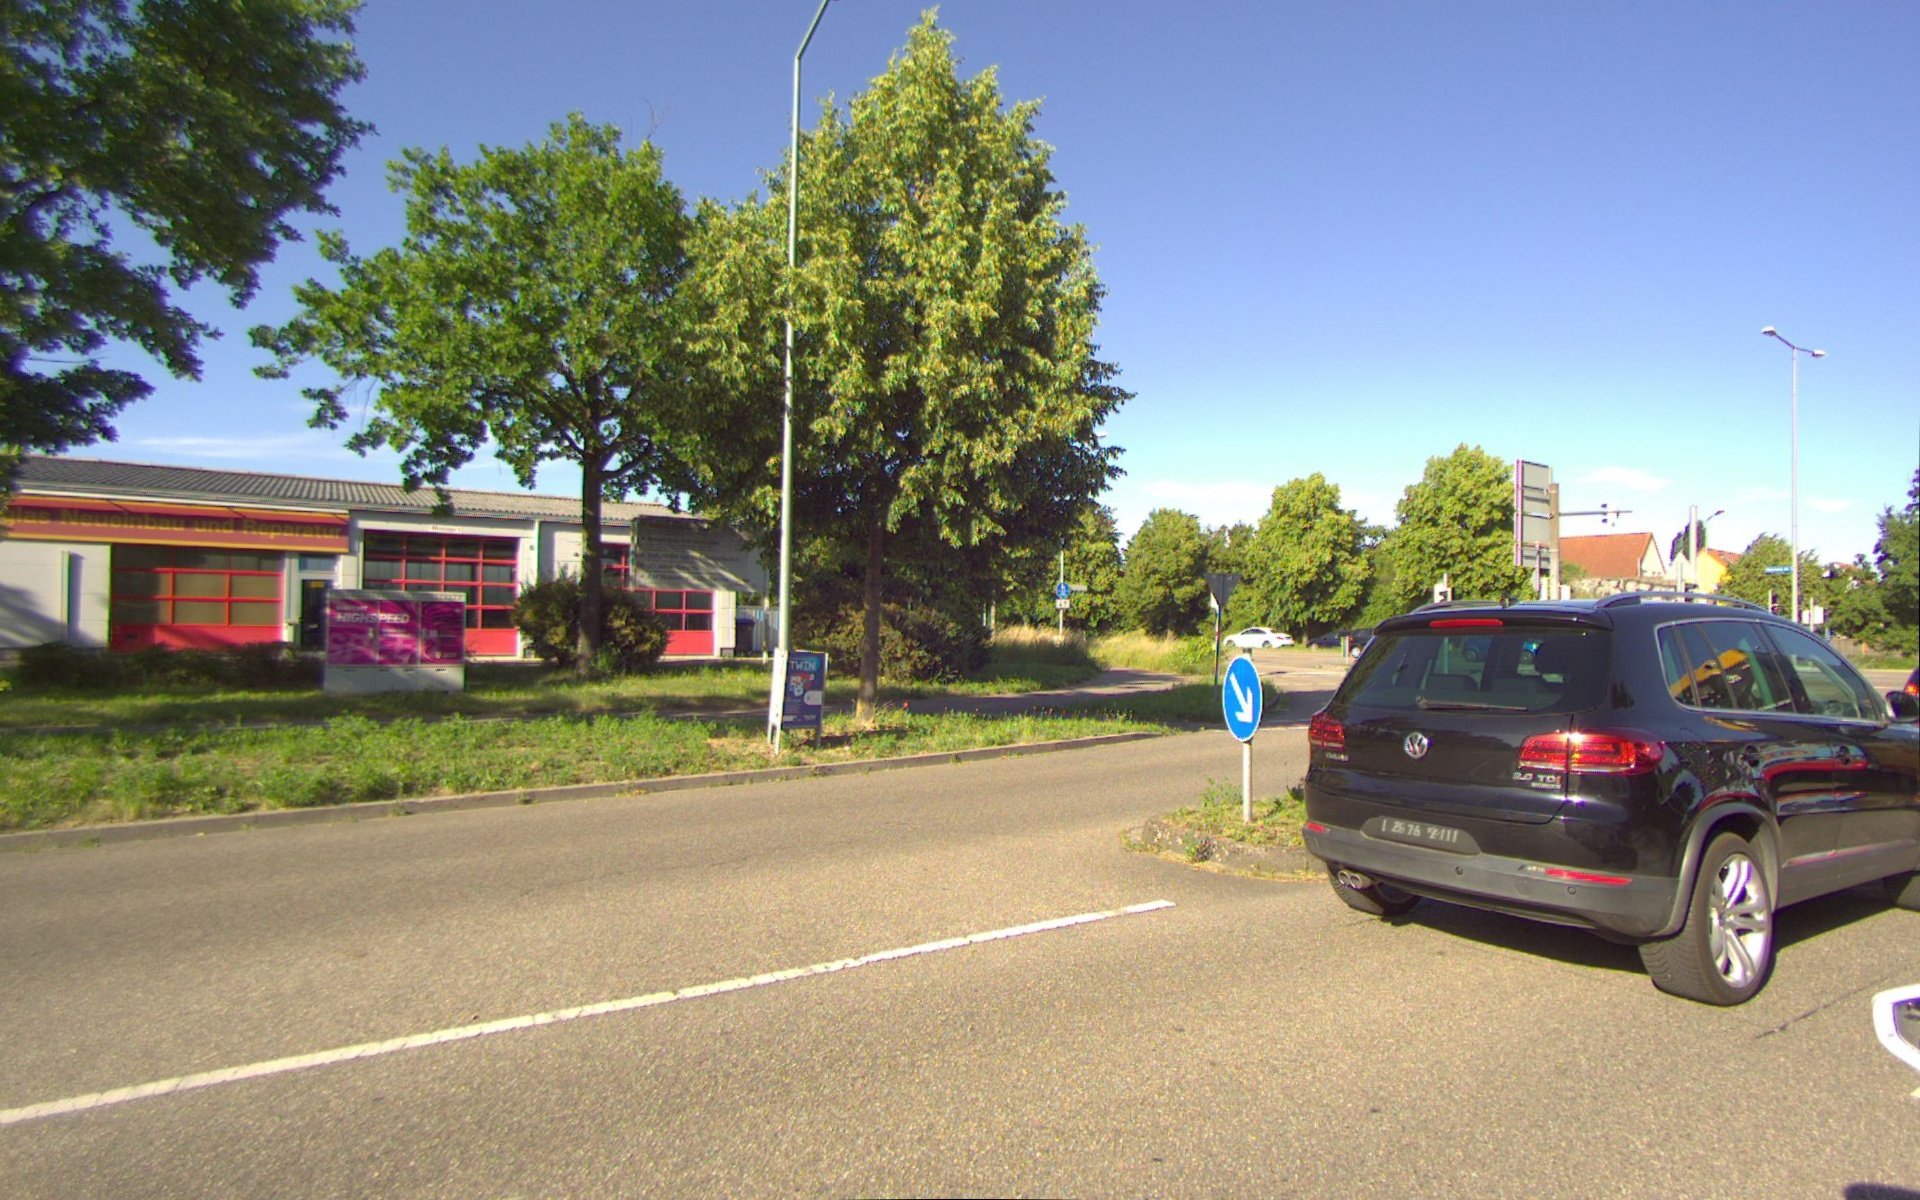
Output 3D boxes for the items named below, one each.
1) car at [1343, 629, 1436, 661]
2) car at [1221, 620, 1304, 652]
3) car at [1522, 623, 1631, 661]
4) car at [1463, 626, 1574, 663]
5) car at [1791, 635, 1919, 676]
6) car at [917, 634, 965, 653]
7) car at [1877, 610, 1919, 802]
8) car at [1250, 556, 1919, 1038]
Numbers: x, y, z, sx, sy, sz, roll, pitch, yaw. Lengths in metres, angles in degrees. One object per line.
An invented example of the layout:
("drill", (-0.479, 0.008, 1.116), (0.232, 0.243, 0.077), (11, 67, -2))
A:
("car", (20.360, 2.102, 47.746), (1.494, 1.330, 3.817), (2, -1, -38))
("car", (18.304, 2.190, 60.885), (1.982, 1.737, 4.493), (2, -1, -37))
("car", (28.645, 1.936, 46.764), (1.680, 1.573, 3.959), (2, -1, -36))
("car", (24.033, 1.900, 43.301), (1.668, 1.403, 3.817), (2, -1, -38))
("car", (38.576, 2.345, 43.321), (1.678, 1.633, 3.961), (1, -1, -35))
("car", (-1.720, 3.808, 88.705), (4.365, 1.479, 1.566), (1, -1, 42))
("car", (10.231, 0.906, 9.220), (3.990, 1.642, 1.744), (0, -1, -33))
("car", (3.627, 0.798, 5.362), (3.957, 1.695, 1.812), (2, -3, -31))
